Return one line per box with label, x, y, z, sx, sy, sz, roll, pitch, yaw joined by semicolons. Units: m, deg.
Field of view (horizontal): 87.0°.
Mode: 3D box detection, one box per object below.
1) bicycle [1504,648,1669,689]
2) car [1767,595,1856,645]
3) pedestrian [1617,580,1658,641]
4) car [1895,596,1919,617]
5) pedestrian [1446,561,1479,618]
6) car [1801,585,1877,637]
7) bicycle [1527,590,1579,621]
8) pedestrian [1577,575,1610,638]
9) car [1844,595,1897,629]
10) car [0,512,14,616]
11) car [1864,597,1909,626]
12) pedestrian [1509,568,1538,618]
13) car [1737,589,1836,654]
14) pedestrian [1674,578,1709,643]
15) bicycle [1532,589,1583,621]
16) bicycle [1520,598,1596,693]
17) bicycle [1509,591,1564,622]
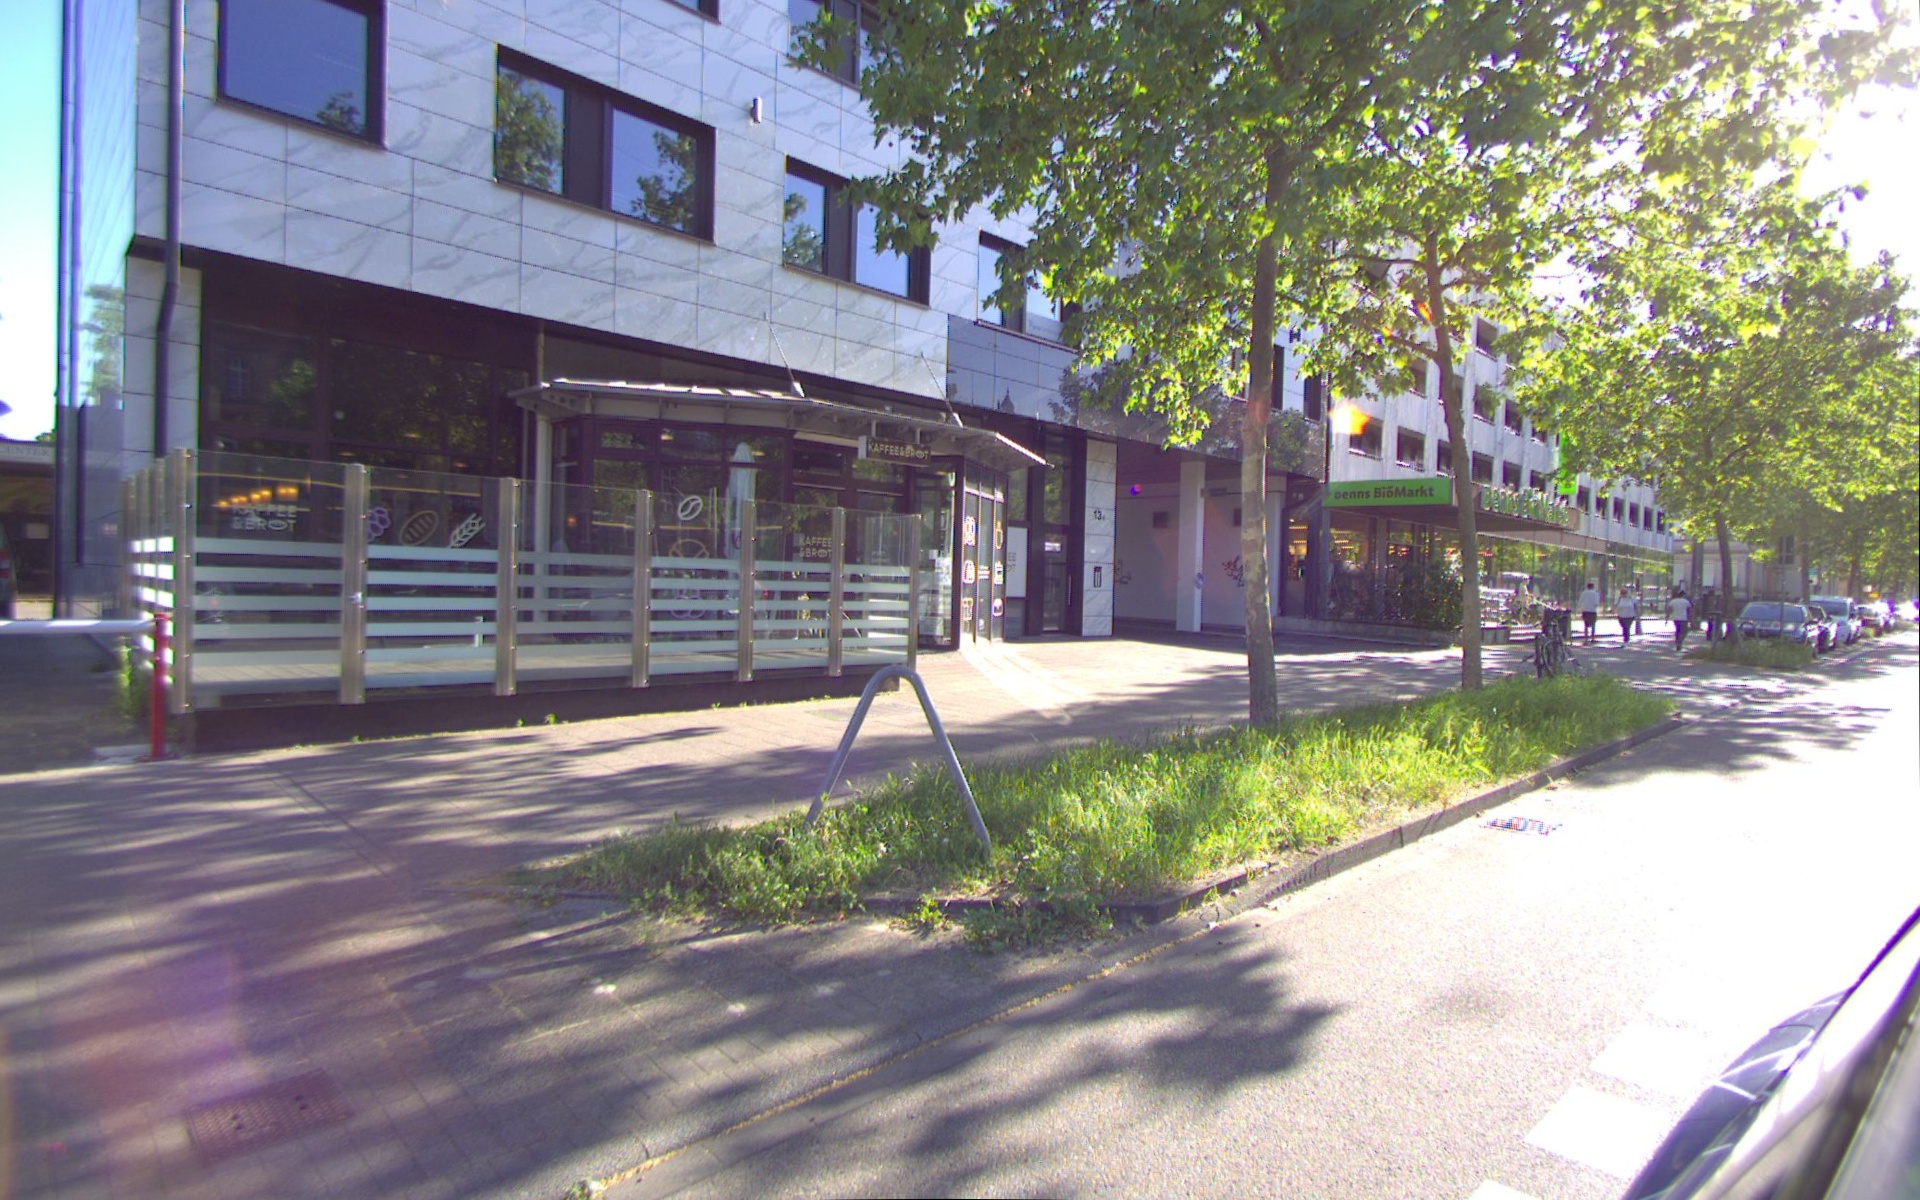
bicycle;8.415;0.899;13.610;1.366;0.357;1.610;0;2;-44
car;26.747;0.577;31.744;1.762;1.436;4.624;1;1;45
pedestrian;19.039;0.284;28.438;0.853;1.632;0.699;1;3;-42
car;73.408;0.470;77.996;4.204;1.584;1.835;0;1;-45
pedestrian;15.374;-0.315;30.967;0.868;1.698;0.558;0;3;-45
car;33.364;0.395;38.375;4.320;1.814;1.766;0;2;-44
bicycle;22.602;0.193;38.602;0.573;1.068;1.710;3;2;-17
pedestrian;18.256;0.173;29.149;0.864;1.766;0.560;0;2;-45
car;44.286;0.557;49.205;1.674;1.455;3.631;5;4;44
car;-17.294;-0.656;17.348;1.568;1.692;3.614;0;2;-43
car;51.661;0.599;56.400;3.866;1.459;1.627;0;3;-45
pedestrian;20.480;-0.272;36.782;0.607;1.735;0.609;8;4;21
car;21.888;0.519;26.746;3.934;1.569;1.566;0;1;-44
pedestrian;19.866;0.283;27.483;1.035;1.725;0.560;0;2;-45
bicycle;23.223;0.181;39.357;0.573;1.068;1.710;2;3;-17
bicycle;8.030;0.562;13.554;0.785;1.147;1.824;2;2;33
bicycle;20.218;0.213;35.527;0.573;0.927;1.656;5;2;-17
